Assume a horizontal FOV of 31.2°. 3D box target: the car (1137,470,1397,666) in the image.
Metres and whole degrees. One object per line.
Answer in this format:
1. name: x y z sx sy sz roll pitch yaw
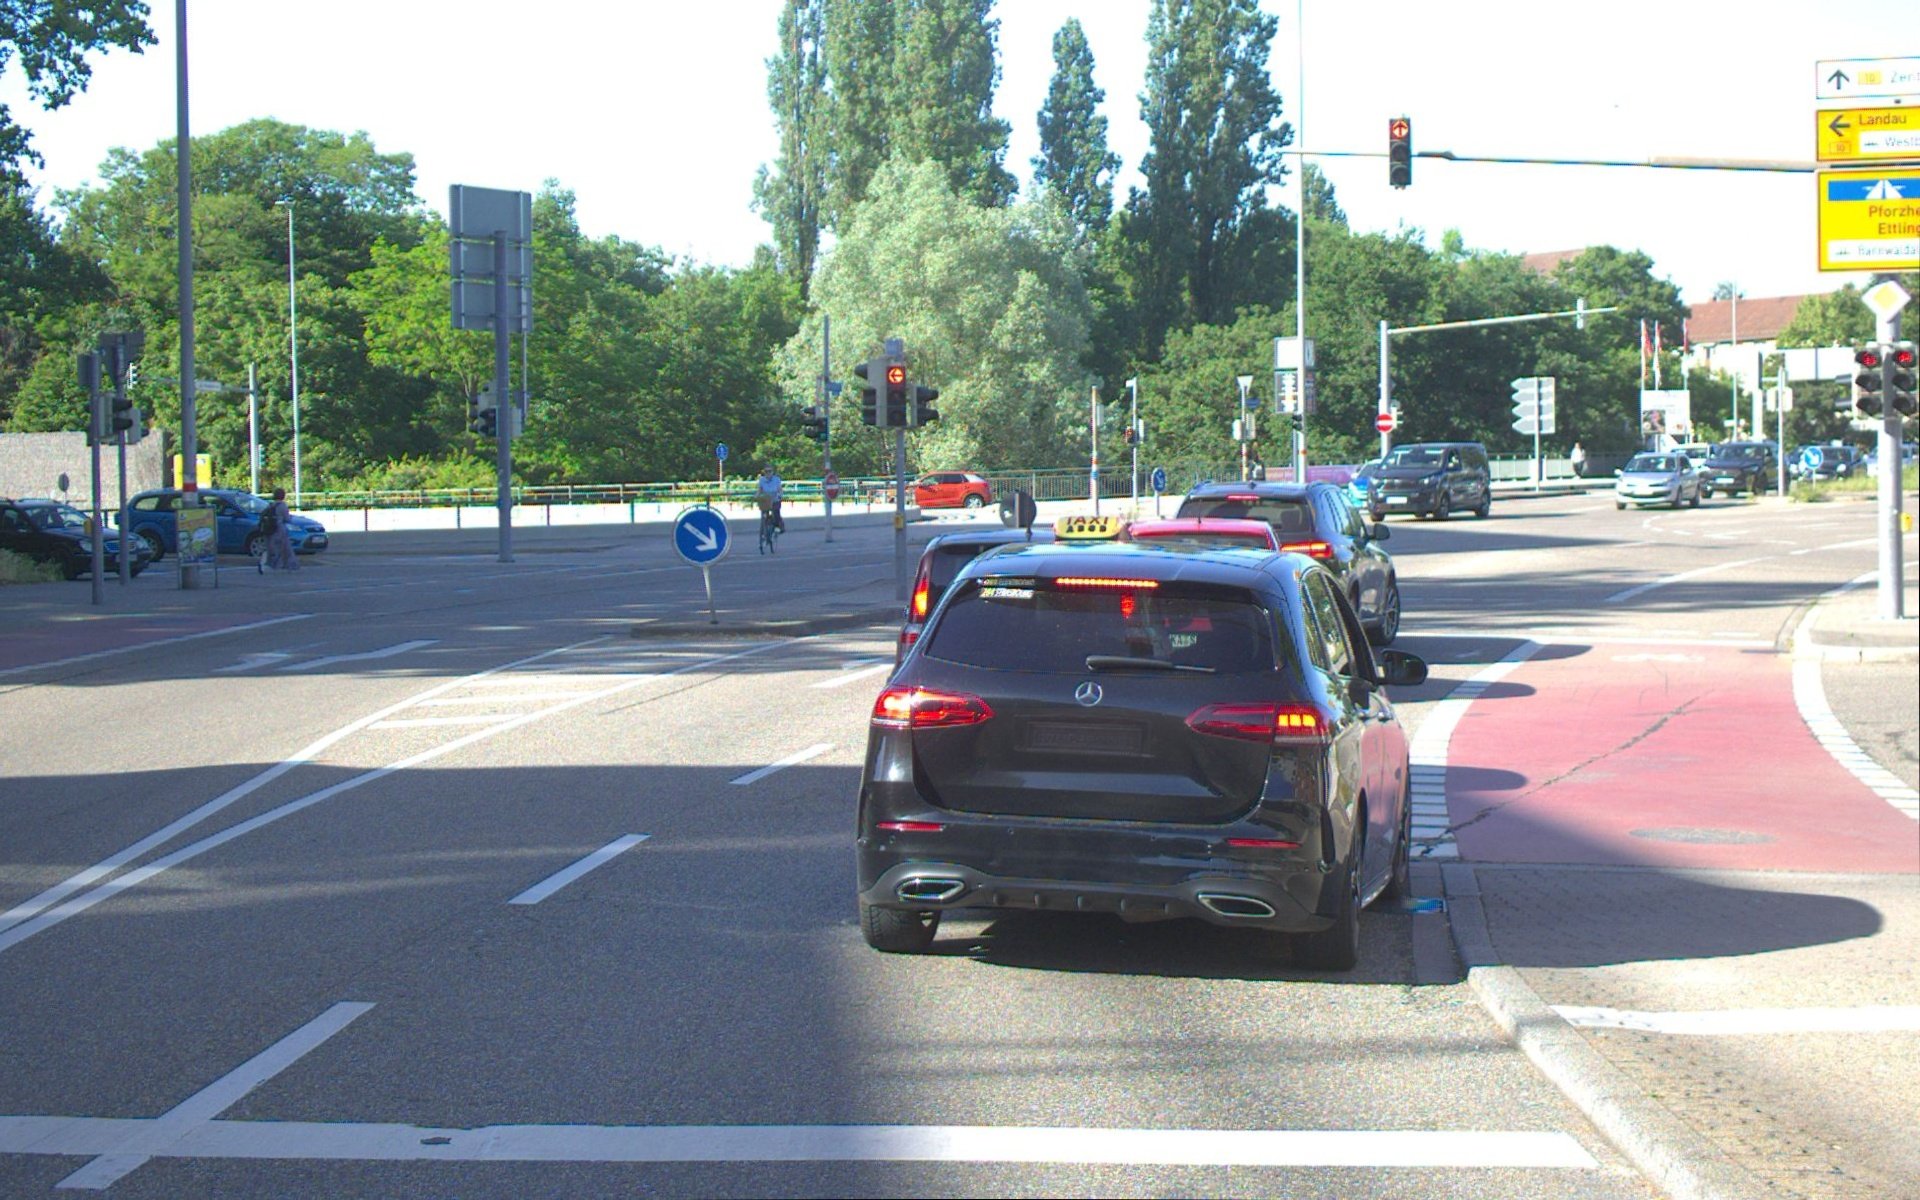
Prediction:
1. car: 3.173 -0.388 34.722 1.870 1.784 4.411 2 3 15

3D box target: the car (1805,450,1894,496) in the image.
1. car: 29.039 -4.133 112.171 1.996 1.448 3.994 1 2 27

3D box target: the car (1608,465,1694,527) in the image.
1. car: 18.501 -2.799 91.932 1.821 1.577 4.101 0 2 18

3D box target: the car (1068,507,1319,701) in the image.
1. car: 2.057 -0.023 29.308 1.820 1.474 3.999 1 2 8

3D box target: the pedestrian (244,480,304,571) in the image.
1. pedestrian: -12.250 -1.318 61.418 0.686 1.533 1.366 1 -3 4

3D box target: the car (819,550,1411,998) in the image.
1. car: 0.767 0.557 13.585 1.752 1.488 3.998 0 1 11

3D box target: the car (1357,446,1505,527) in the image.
1. car: 11.704 -2.826 85.184 1.997 1.928 4.844 1 3 29

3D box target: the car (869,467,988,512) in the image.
1. car: -1.107 -3.861 119.808 3.986 1.543 2.001 -1 2 -6

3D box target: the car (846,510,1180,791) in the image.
1. car: 0.328 0.230 21.033 1.820 1.484 4.000 -1 2 1

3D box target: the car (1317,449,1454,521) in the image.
1. car: 11.495 -3.111 92.639 1.997 1.858 4.844 1 3 29

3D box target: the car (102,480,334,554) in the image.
1. car: -15.317 -1.713 70.956 4.442 1.433 1.824 0 2 24

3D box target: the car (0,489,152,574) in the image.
1. car: -16.716 -1.219 61.128 4.443 1.433 1.823 0 3 28

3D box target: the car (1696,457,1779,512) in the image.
1. car: 23.023 -3.433 101.752 1.725 1.577 3.999 0 3 23

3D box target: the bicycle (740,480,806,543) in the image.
1. bicycle: -3.798 -1.815 69.857 0.687 1.198 2.326 0 3 14

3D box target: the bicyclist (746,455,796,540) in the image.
1. bicyclist: -3.825 -2.082 69.746 0.687 1.695 1.197 0 3 14
